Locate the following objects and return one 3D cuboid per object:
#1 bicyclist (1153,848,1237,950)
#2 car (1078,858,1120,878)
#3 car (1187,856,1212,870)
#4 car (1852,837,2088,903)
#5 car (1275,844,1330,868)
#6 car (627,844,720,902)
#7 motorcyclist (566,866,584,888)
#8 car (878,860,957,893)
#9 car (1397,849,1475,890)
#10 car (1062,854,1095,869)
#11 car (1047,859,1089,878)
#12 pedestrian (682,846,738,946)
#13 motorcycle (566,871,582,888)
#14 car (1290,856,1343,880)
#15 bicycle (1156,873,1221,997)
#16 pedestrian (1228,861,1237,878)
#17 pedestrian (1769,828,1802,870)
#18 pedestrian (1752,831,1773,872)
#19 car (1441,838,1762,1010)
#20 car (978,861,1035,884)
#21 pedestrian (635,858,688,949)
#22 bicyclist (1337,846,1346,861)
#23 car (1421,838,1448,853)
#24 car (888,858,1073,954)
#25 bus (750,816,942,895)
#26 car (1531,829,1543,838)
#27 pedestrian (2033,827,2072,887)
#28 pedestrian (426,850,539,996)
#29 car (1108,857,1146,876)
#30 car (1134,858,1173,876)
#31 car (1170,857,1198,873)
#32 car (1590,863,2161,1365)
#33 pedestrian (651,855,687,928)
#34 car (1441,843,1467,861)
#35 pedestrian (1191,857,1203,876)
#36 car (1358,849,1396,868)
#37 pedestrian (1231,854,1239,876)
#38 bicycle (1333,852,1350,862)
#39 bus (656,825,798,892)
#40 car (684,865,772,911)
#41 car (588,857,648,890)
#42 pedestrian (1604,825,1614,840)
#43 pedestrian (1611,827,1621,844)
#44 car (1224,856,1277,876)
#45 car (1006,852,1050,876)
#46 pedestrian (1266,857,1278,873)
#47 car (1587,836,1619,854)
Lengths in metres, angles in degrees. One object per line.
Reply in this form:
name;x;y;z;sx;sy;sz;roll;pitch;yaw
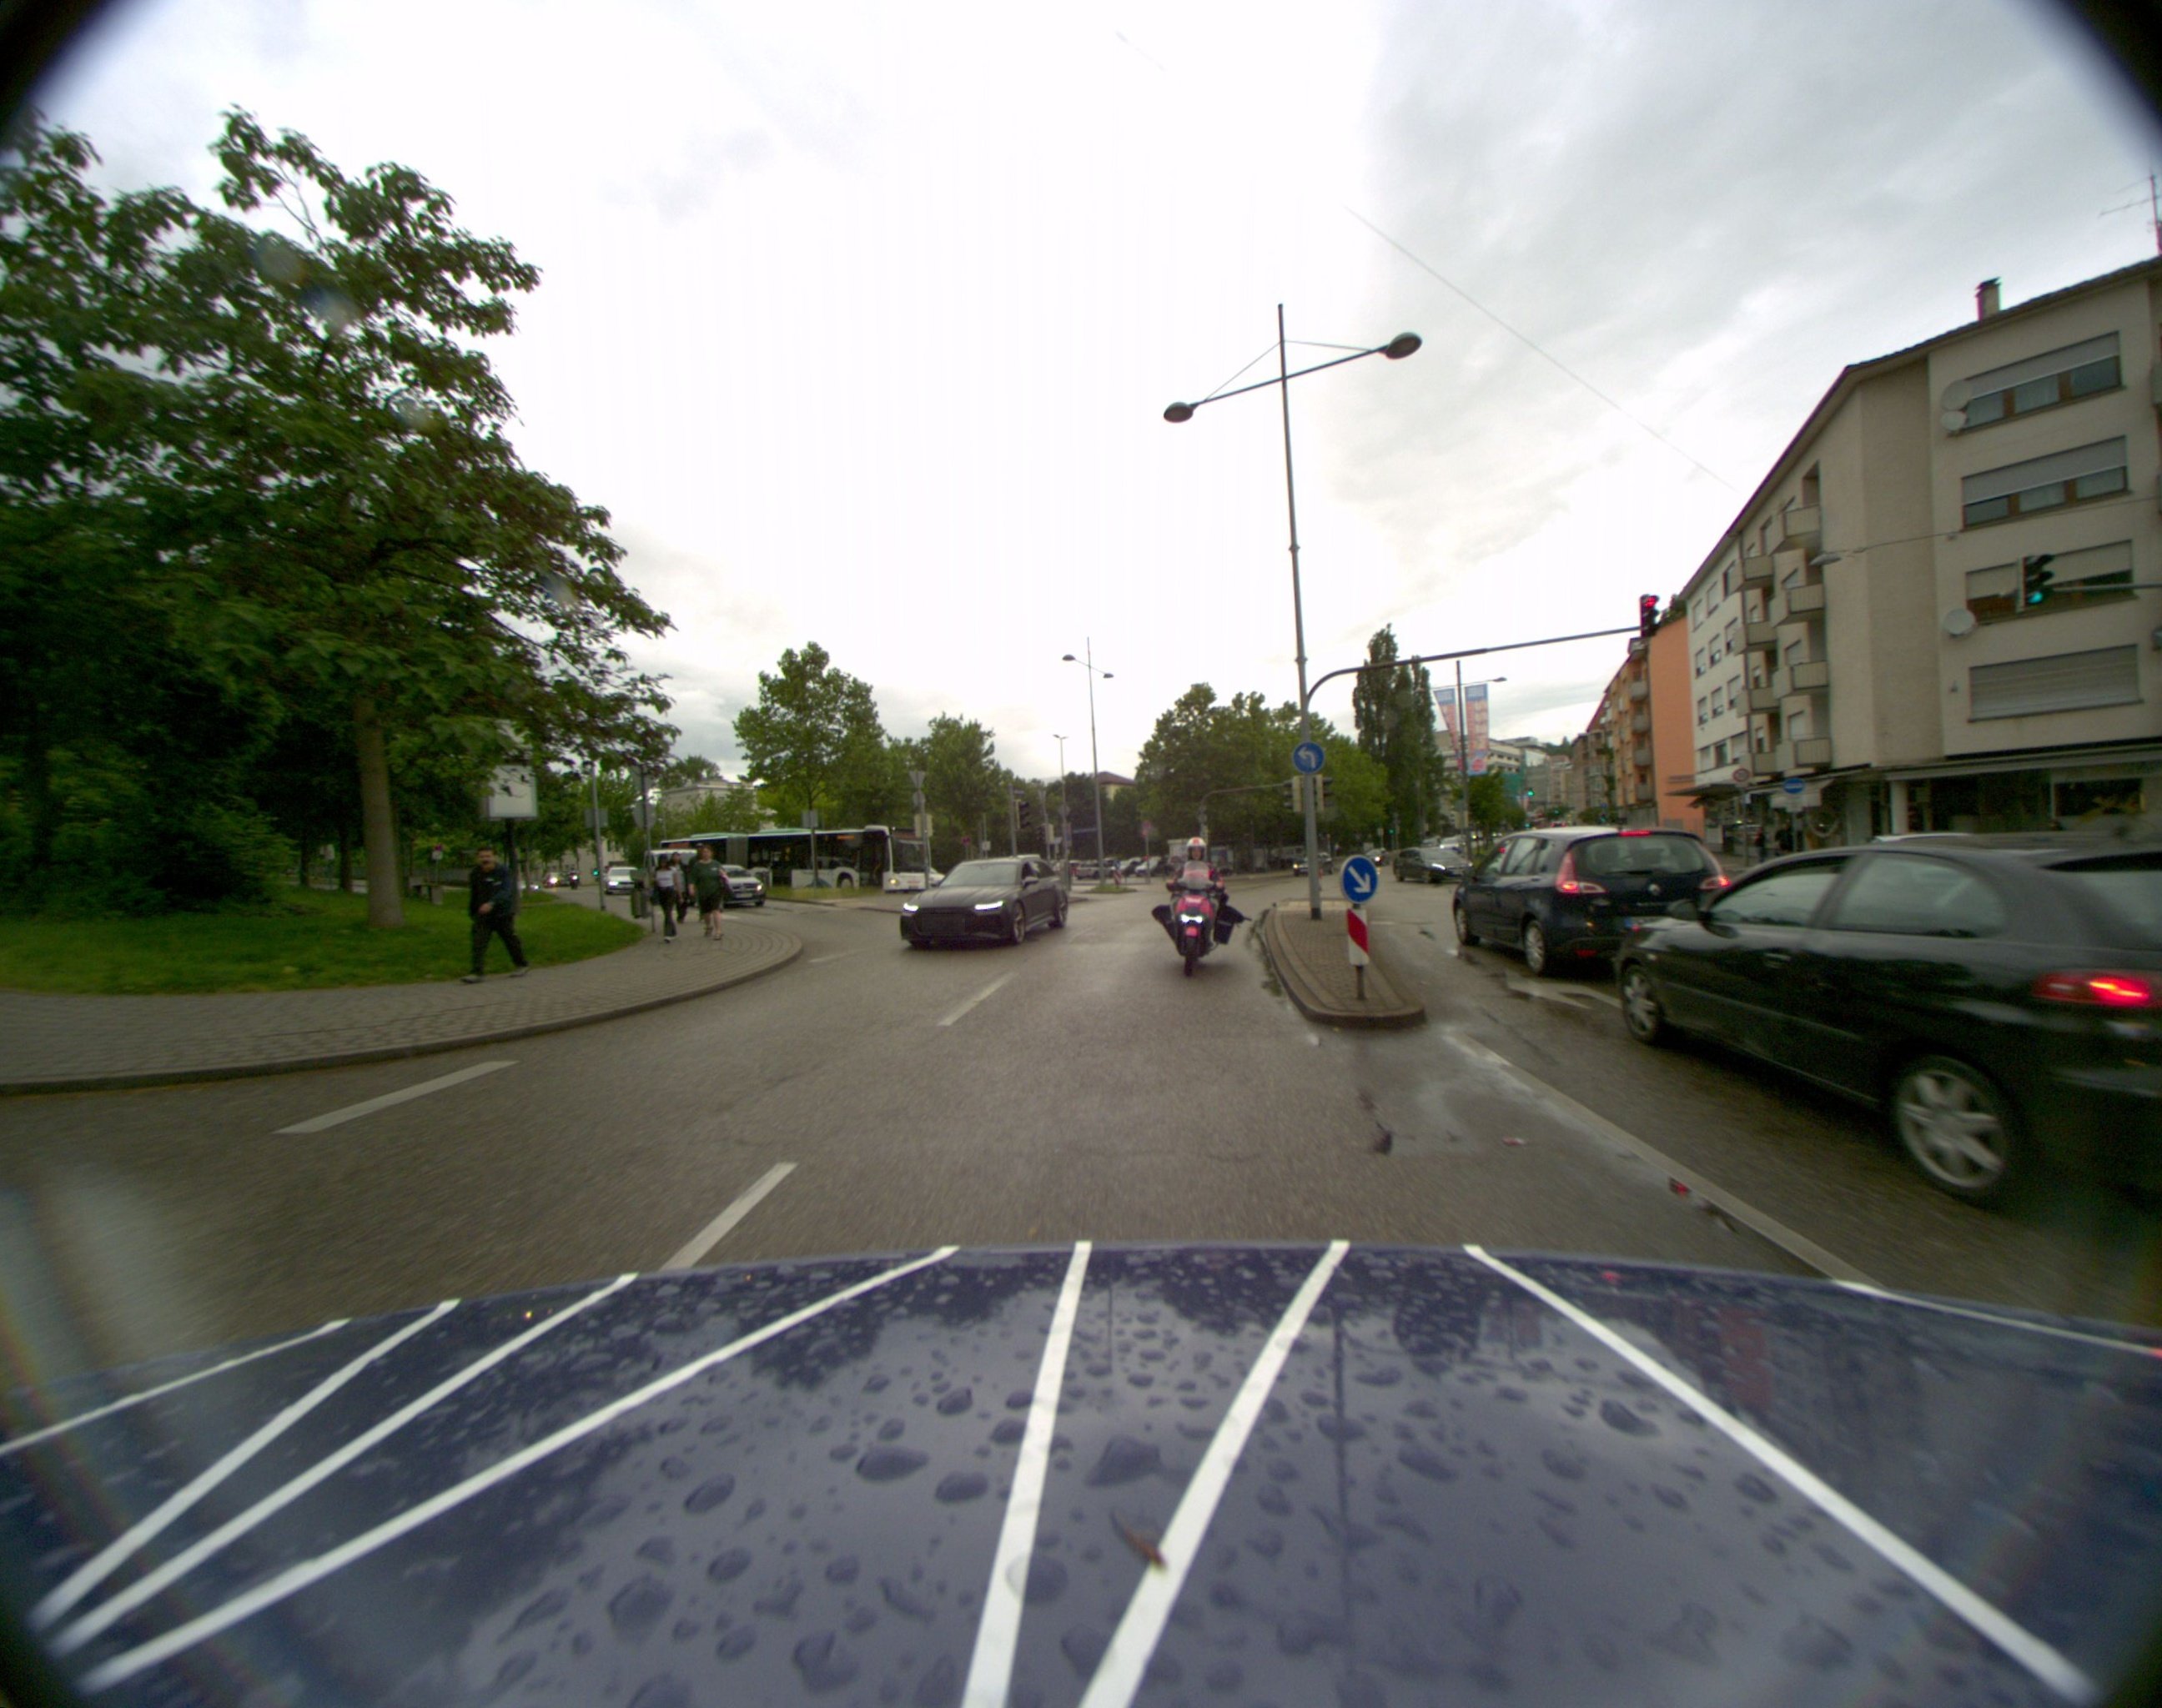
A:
bicyclist;1.454;0.579;9.776;0.962;1.218;0.715;-3;-3;6
car;1.570;1.182;65.041;1.758;1.581;4.185;-2;0;31
car;13.063;1.013;83.612;1.529;1.419;3.844;-2;0;27
car;21.783;0.413;18.855;3.620;1.453;1.545;-3;0;43
car;22.308;0.232;76.613;4.840;1.931;1.954;-7;-1;35
car;-17.702;0.769;32.835;2.259;2.221;6.324;-3;1;-39
motorcyclist;-34.788;1.569;52.216;0.808;1.429;1.237;-3;1;-41
car;-7.898;1.103;36.616;3.560;1.442;1.593;-3;-1;32
car;14.481;0.584;31.262;1.802;1.425;4.399;-4;0;11
car;-0.315;0.934;91.748;1.968;1.660;4.639;-2;0;28
car;-1.119;1.264;66.738;1.758;1.581;4.008;-2;0;31
pedestrian;-6.913;0.762;14.199;0.743;1.819;0.694;0;1;-7
motorcycle;-34.810;1.744;52.162;0.572;1.112;2.682;-3;0;-41
car;14.982;0.864;48.205;1.892;1.391;4.369;-1;1;35
bicycle;1.374;0.945;9.791;0.716;1.298;2.428;-1;1;8
pedestrian;11.589;1.161;58.070;0.499;1.263;0.402;-3;0;34
pedestrian;30.049;-0.215;32.427;0.778;1.719;0.661;-7;-2;33
pedestrian;29.343;-0.129;32.732;0.452;1.720;0.525;-7;-2;34
car;5.935;0.673;9.348;1.758;1.605;4.215;-2;0;12
car;-5.322;1.323;54.730;1.852;1.432;4.270;-2;0;31
pedestrian;-7.626;0.882;13.830;0.602;1.590;0.706;0;1;-7
bicyclist;33.251;-0.059;97.030;0.986;1.760;0.797;-3;1;15
car;38.520;-0.923;82.816;1.892;1.480;4.369;-1;1;35
car;-1.630;0.832;14.071;1.894;1.396;4.365;-1;1;14
bus;-10.921;0.132;34.697;9.632;3.198;2.710;-1;0;32
car;76.632;-3.509;127.677;1.604;1.422;3.951;0;2;29
pedestrian;27.812;0.089;21.767;0.529;1.641;0.601;-8;3;-44
pedestrian;-7.232;0.807;9.223;0.572;1.676;0.964;0;-1;1
car;4.232;1.126;69.216;1.758;1.581;4.008;-2;0;31
car;6.492;1.122;67.576;1.734;1.431;4.453;-2;0;30
car;10.692;1.114;78.504;1.637;1.414;3.360;-4;1;29
car;4.325;0.800;3.853;1.558;1.389;3.730;-2;0;11
pedestrian;-9.700;0.868;17.894;0.558;1.696;0.528;-1;1;-8
car;35.812;-0.209;72.926;1.893;1.567;4.369;-1;1;31
pedestrian;10.259;1.122;67.213;0.765;1.623;0.863;-3;0;33
car;24.029;0.346;61.612;1.892;1.413;4.369;-1;1;35
pedestrian;11.894;0.847;58.729;0.540;1.685;0.556;-2;0;17
bicycle;33.269;0.410;97.030;1.930;1.088;0.650;-4;1;15
bus;-18.599;0.174;39.672;8.535;3.162;2.693;1;1;34
car;-12.275;1.111;26.309;1.799;1.366;4.085;-3;1;-39
car;-25.815;1.081;42.299;2.004;1.643;4.862;-3;0;-41
pedestrian;63.220;-2.551;90.965;0.765;1.685;0.801;-3;1;28
pedestrian;57.078;-1.996;81.088;0.560;1.718;0.610;-7;-1;12
car;16.009;1.133;71.721;4.405;1.475;1.866;-6;-1;29
car;-5.265;0.955;76.583;1.968;2.306;5.022;-2;0;28
pedestrian;16.363;0.960;65.164;0.627;1.314;0.632;-5;1;-44
car;42.664;-0.769;62.189;1.677;1.384;4.159;0;1;28
